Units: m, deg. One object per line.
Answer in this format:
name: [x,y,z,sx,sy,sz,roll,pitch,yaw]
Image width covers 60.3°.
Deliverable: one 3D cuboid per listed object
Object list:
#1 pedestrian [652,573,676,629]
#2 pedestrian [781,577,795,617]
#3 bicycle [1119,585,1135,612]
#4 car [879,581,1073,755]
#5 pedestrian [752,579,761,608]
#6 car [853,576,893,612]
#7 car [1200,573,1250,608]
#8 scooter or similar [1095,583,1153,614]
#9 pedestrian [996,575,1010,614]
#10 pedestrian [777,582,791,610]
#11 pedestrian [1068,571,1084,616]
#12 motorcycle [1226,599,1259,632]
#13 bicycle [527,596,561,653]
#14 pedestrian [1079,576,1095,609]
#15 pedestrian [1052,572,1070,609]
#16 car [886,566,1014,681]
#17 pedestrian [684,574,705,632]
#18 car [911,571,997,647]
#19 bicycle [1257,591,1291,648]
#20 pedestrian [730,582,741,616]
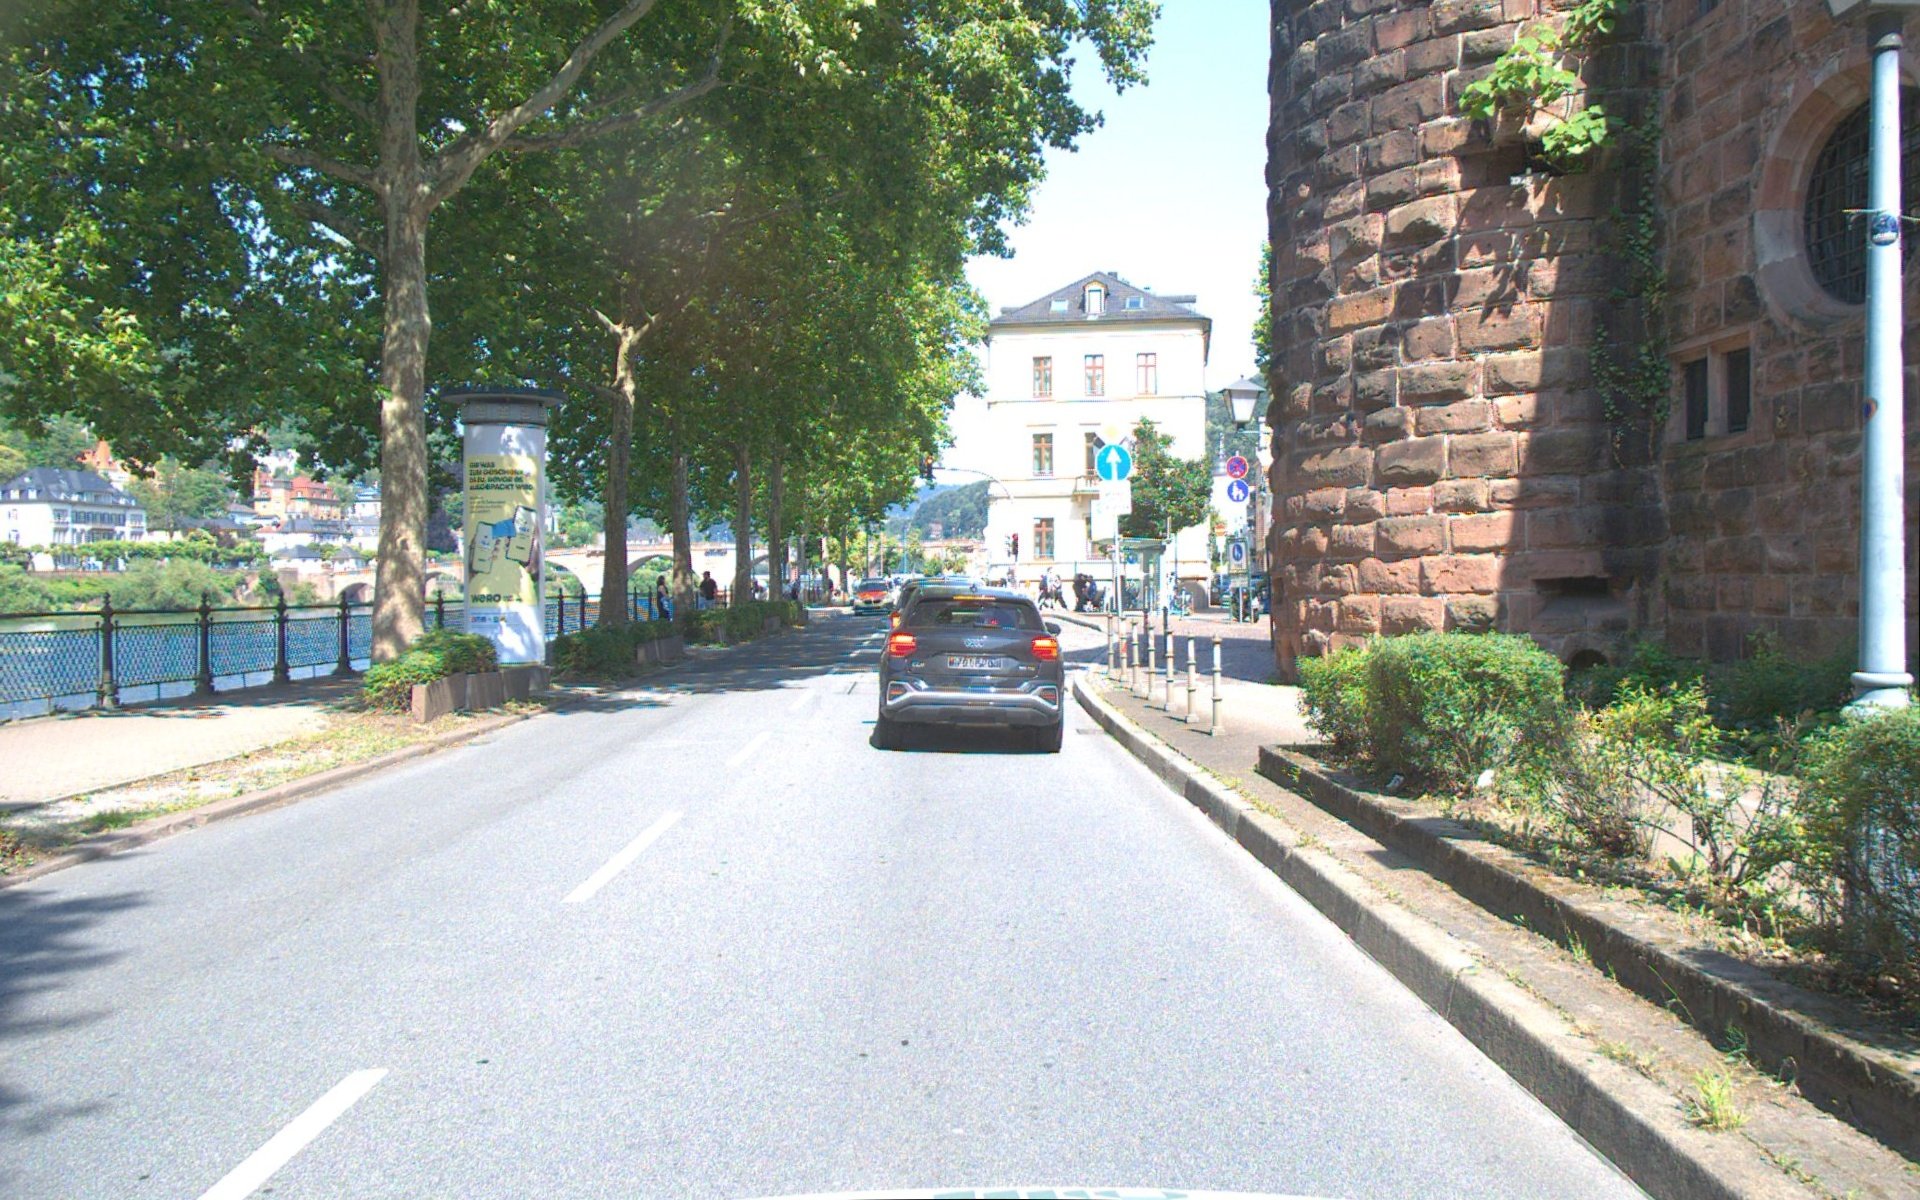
pedestrian: [-9.271,0.020,51.835,0.632,1.747,0.665,1,0,-3]
pedestrian: [-7.386,-0.130,71.043,0.507,1.666,0.438,-2,0,-8]
bicycle: [6.337,-0.065,62.787,0.441,0.991,1.399,2,0,0]
car: [0.093,0.593,16.626,1.713,1.520,3.628,1,1,-2]
pedestrian: [-10.269,-0.339,83.570,0.401,1.450,0.457,2,0,-3]
car: [-4.014,-0.291,76.766,1.581,1.549,3.477,-2,1,1]
car: [13.888,-0.480,86.957,1.953,1.746,4.000,2,0,0]
scooter or similar: [5.377,-0.053,54.242,1.808,0.980,0.429,2,0,-1]
pedestrian: [1.777,-0.235,68.238,0.545,1.585,0.660,1,0,0]
pedestrian: [-8.196,-0.183,76.898,0.579,1.301,0.525,2,0,-1]
pedestrian: [4.341,-0.252,61.786,0.545,1.661,0.660,1,0,0]
motorcycle: [7.653,0.409,44.819,0.474,0.832,2.279,-2,1,0]
bicycle: [-8.975,0.524,35.746,0.350,1.182,1.825,2,0,-3]
pedestrian: [4.805,-0.277,62.428,0.535,1.222,0.522,2,0,0]
pedestrian: [4.353,-0.423,71.397,0.731,1.585,0.588,1,0,0]
car: [-0.148,0.313,25.357,1.764,1.589,3.716,-2,1,0]
pedestrian: [-8.280,0.098,51.580,0.552,1.772,0.665,-1,0,-4]
car: [-0.127,0.162,36.408,1.764,1.549,3.716,-1,1,0]
bicycle: [6.073,0.368,32.056,0.485,1.048,2.052,-3,0,7]
pedestrian: [-10.307,-0.048,75.936,0.488,1.564,0.679,-2,0,-8]
